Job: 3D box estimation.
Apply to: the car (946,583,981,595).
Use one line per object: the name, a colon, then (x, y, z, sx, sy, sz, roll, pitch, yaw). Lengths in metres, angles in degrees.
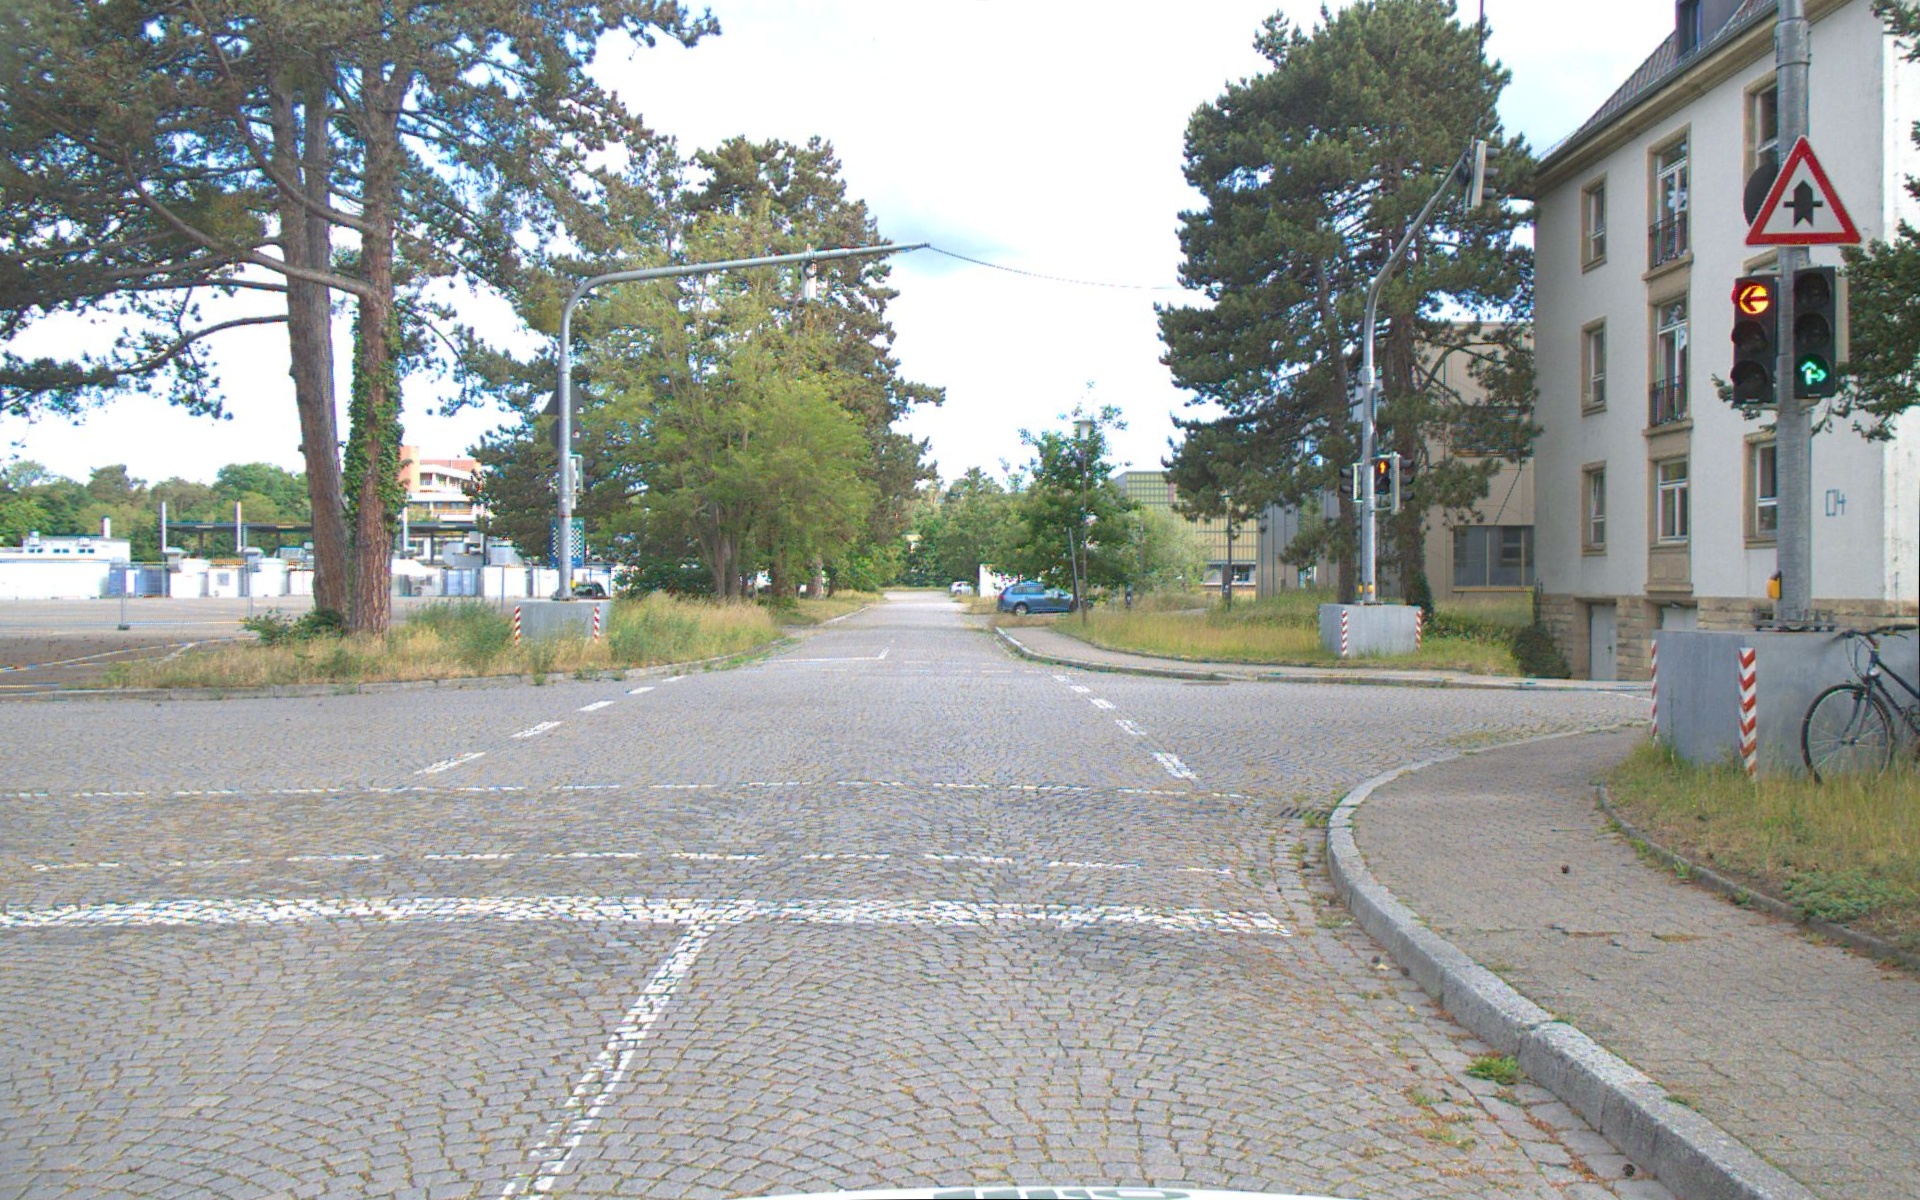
car: (0.419, -1.274, 193.302, 3.911, 1.422, 1.997, 0, 1, -7)

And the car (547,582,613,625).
car: (-13.975, 0.095, 60.944, 1.580, 1.513, 3.999, 0, 1, -1)

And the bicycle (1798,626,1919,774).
bicycle: (6.262, 0.614, 10.436, 1.665, 0.889, 0.573, 0, 1, -1)

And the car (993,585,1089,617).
car: (3.694, 0.020, 76.295, 4.258, 1.447, 1.999, 0, 1, -4)
